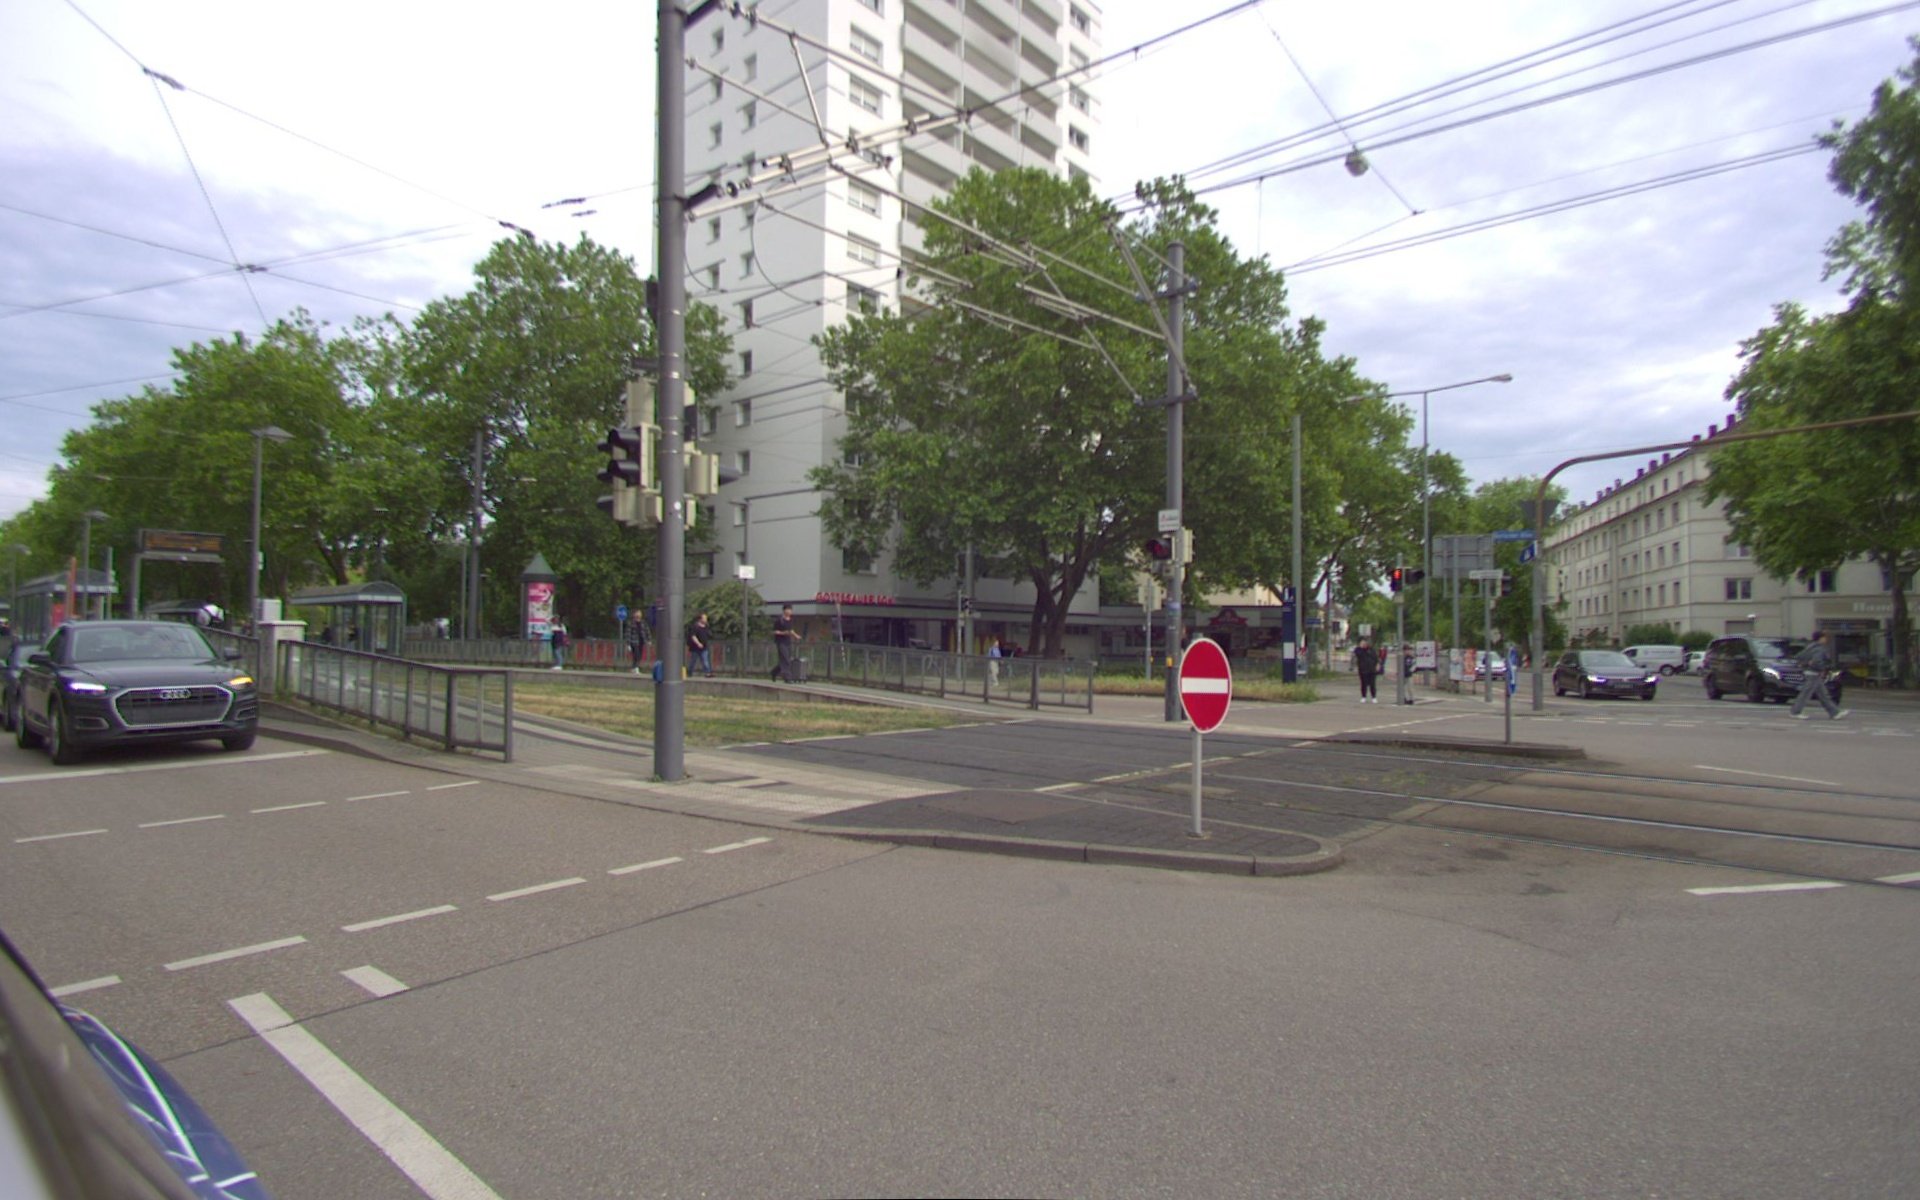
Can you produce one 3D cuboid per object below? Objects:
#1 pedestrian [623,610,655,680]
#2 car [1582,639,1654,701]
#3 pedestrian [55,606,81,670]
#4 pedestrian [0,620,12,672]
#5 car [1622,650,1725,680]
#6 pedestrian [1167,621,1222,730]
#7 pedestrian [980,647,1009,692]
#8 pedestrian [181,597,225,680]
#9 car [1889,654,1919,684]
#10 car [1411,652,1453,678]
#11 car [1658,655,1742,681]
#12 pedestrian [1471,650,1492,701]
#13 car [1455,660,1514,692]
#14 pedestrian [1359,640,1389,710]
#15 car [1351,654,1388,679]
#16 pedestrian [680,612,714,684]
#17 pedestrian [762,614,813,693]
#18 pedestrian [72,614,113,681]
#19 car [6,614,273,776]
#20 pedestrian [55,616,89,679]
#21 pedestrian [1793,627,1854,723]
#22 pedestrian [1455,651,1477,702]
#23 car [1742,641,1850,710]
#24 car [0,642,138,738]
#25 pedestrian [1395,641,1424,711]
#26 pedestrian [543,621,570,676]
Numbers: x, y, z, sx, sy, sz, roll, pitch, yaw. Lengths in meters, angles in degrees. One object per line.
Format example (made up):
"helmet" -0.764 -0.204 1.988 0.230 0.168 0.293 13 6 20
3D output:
"pedestrian" -8.376 1.173 26.402 0.534 1.803 0.614 -2 -2 42
"car" 19.822 2.132 30.442 1.660 1.732 3.695 -2 -6 35
"pedestrian" -29.235 1.241 33.169 0.822 2.066 0.577 -2 -3 45
"pedestrian" -38.751 1.857 40.905 0.822 2.066 0.577 -2 -3 45
"car" 41.845 3.778 59.516 4.820 1.676 1.977 -1 -3 34
"pedestrian" 3.932 1.242 16.960 0.627 1.764 0.647 -2 -2 43
"pedestrian" 1.198 2.417 35.348 0.546 1.520 0.854 1 -2 -44
"pedestrian" -16.550 0.838 22.122 0.534 1.764 0.654 -2 -2 42
"car" 46.170 3.248 47.725 1.988 1.400 4.792 -1 -3 24
"car" 31.941 4.385 68.616 1.918 1.697 3.980 0 -3 15
"car" 45.096 4.133 61.749 1.773 1.497 4.007 0 -3 -9
"pedestrian" 14.376 2.072 27.908 0.413 1.375 0.389 -1 -2 14
"car" 26.060 3.766 50.408 1.745 1.431 3.981 0 -3 14
"pedestrian" 9.820 1.767 24.029 0.518 1.624 0.525 -1 -2 9
"car" 28.953 4.680 71.647 1.983 1.564 3.887 -1 -2 17
"pedestrian" -6.582 1.189 25.348 0.548 1.764 0.614 -2 -2 42
"pedestrian" -3.844 1.183 22.548 0.878 1.708 0.733 -2 -2 42
"pedestrian" -23.761 1.302 27.741 0.652 1.805 0.535 0 -2 -9
"car" -10.283 1.046 12.563 4.366 1.660 1.891 -2 -2 42
"pedestrian" -25.947 1.366 29.575 0.821 1.805 0.674 -2 -2 45
"pedestrian" 17.475 1.506 20.493 0.684 1.901 0.684 -1 -2 20
"pedestrian" 13.823 2.079 27.645 0.413 1.375 0.389 -1 -2 14
"car" 22.635 2.080 27.541 1.908 1.732 3.695 -2 -6 35
"car" -15.179 1.416 16.909 4.012 1.385 1.616 -2 -2 42
"pedestrian" 10.483 1.769 23.627 0.499 1.624 0.366 -1 -2 9
"pedestrian" -12.486 1.494 31.323 0.565 1.681 0.614 -2 -2 42
